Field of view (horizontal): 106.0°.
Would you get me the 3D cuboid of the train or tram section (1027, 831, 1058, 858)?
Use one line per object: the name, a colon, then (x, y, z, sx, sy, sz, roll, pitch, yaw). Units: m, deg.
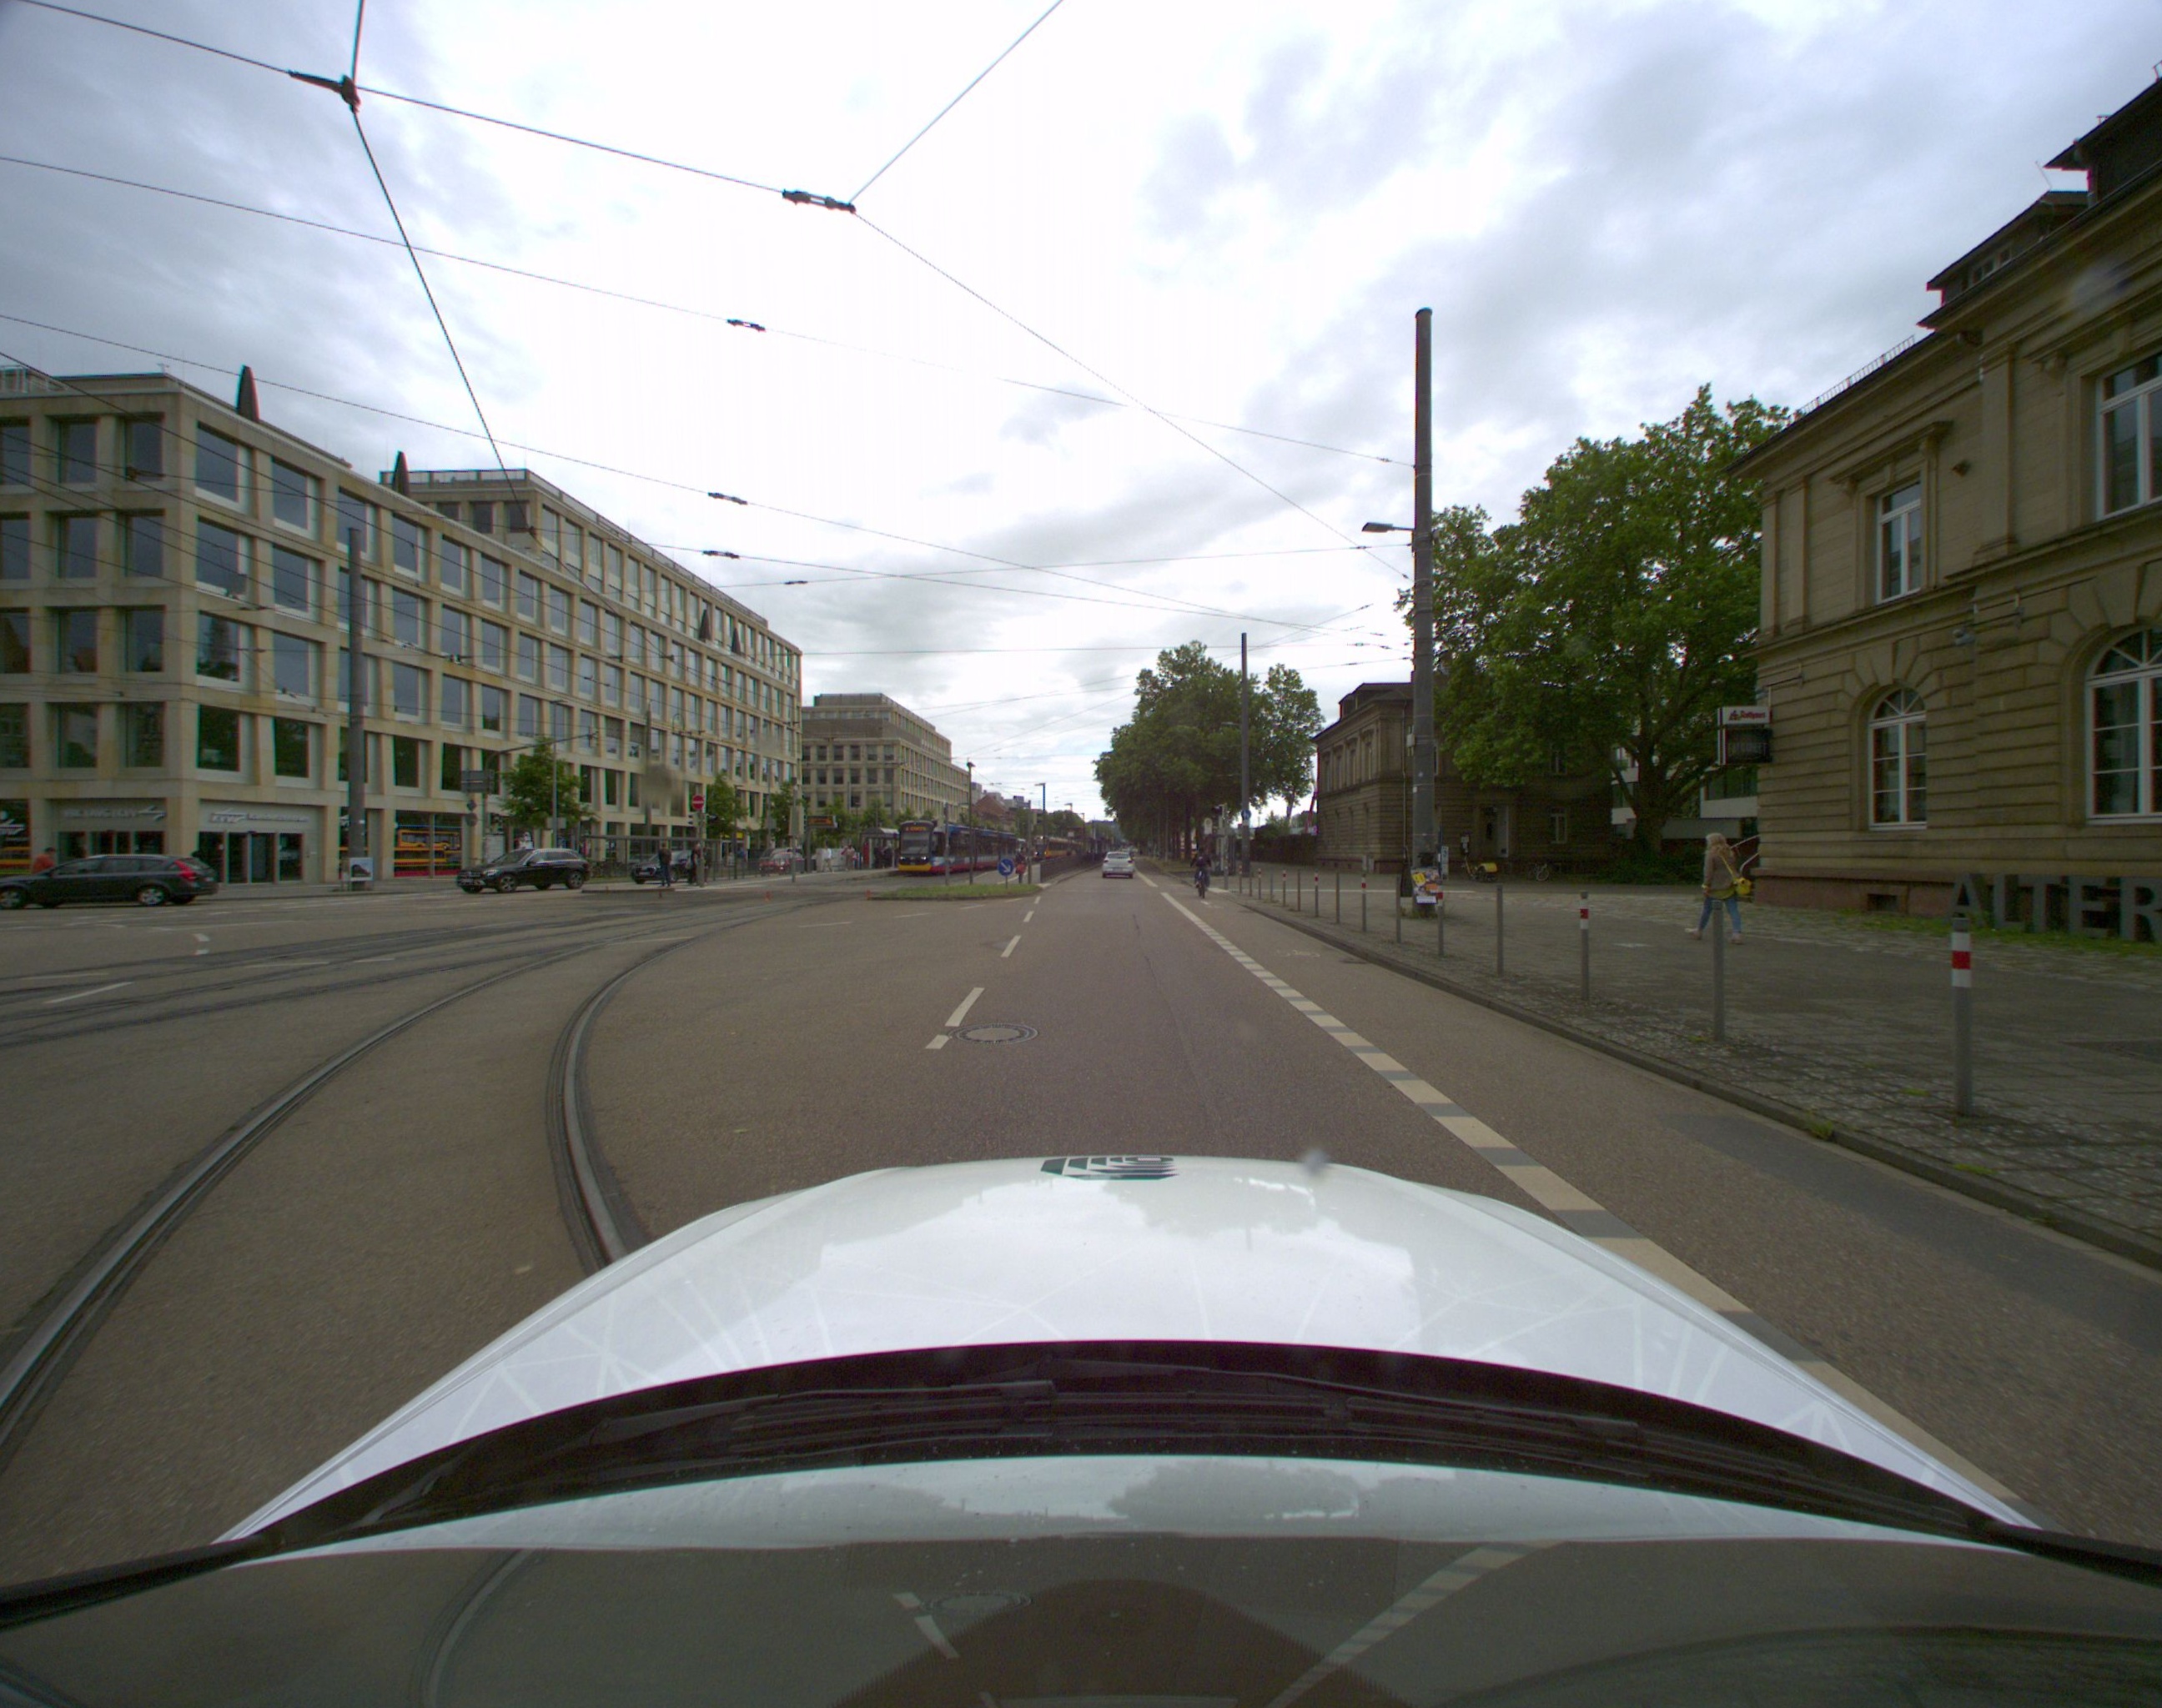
train or tram section: (-5.703, -1.281, 122.969, 3.223, 3.862, 11.323, 0, -1, 4)

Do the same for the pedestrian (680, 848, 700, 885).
pedestrian: (-17.077, 0.556, 35.603, 0.707, 1.598, 0.528, -1, -1, 38)

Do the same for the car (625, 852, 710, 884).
car: (-19.970, 0.637, 39.521, 1.732, 1.494, 4.369, 0, 0, 2)

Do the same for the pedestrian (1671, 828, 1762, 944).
pedestrian: (9.675, 0.471, 12.439, 0.714, 1.678, 1.003, -1, -1, 13)

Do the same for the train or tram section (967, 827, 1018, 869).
train or tram section: (-8.328, -0.467, 78.584, 2.843, 3.692, 13.529, 0, 0, 3)

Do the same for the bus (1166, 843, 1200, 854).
bus: (27.716, -1.502, 221.587, 9.244, 2.960, 2.000, 0, -1, 1)

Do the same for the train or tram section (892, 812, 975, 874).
train or tram section: (-9.504, -0.599, 54.268, 2.843, 3.640, 11.773, 0, 0, 3)

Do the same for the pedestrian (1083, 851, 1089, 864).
pedestrian: (0.516, 0.325, 83.218, 0.608, 1.341, 0.600, 0, -1, 4)

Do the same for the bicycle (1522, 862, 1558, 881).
bicycle: (22.289, 0.848, 39.579, 0.607, 0.872, 2.082, 0, 0, 2)

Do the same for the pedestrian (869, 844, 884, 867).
pedestrian: (-14.087, 0.086, 56.132, 0.843, 1.586, 0.910, 0, -1, -1)

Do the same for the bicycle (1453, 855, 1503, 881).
bicycle: (19.429, 0.678, 39.954, 0.897, 1.068, 3.408, 0, 2, 2)

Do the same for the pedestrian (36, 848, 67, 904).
pedestrian: (-33.326, 0.709, 26.364, 0.414, 1.794, 0.460, 0, -1, -7)

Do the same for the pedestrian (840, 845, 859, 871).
pedestrian: (-14.036, 0.232, 49.326, 0.904, 1.586, 0.848, 0, -1, 1)

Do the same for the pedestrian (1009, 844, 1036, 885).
pedestrian: (-2.380, 0.436, 33.062, 0.865, 1.643, 0.645, 0, -1, -39)

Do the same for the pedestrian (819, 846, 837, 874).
pedestrian: (-14.342, 0.326, 46.181, 0.705, 1.586, 0.766, 0, -1, 1)

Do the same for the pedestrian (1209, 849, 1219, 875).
pedestrian: (8.110, 0.469, 49.635, 0.474, 1.563, 0.703, 0, -1, 3)

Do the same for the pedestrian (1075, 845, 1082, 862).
pedestrian: (-0.263, -0.044, 89.672, 0.669, 1.793, 1.111, 0, -1, -5)

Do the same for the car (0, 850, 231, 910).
car: (-28.207, 0.703, 23.941, 4.012, 1.596, 1.981, 0, 0, -30)

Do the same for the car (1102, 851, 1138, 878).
car: (2.286, 0.600, 47.281, 1.876, 1.453, 4.006, 0, -1, 5)

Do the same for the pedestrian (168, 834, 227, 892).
pedestrian: (-31.772, 0.324, 29.301, 1.038, 2.014, 0.998, 0, -1, 2)

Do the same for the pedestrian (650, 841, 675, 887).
pedestrian: (-17.333, 0.413, 33.726, 0.858, 1.868, 0.740, 0, -1, -31)

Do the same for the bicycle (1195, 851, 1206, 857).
bicycle: (21.177, -0.002, 144.045, 1.883, 1.105, 0.550, -2, -1, 1)

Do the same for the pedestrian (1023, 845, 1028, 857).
pedestrian: (-8.389, -0.414, 123.566, 0.708, 1.795, 1.161, 0, -1, 2)

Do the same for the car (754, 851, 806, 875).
car: (-18.901, 0.515, 51.246, 1.732, 1.449, 3.771, 0, 0, 2)

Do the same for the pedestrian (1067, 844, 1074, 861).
pedestrian: (-1.162, -0.153, 88.866, 0.670, 1.793, 1.109, 0, -1, -10)

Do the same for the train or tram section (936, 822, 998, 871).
train or tram section: (-9.001, -0.502, 65.954, 2.843, 3.640, 11.707, 0, 0, 3)

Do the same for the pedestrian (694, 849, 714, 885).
pedestrian: (-16.657, 0.574, 35.952, 0.707, 1.598, 0.528, -1, -1, 38)

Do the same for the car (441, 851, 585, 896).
car: (-21.575, 0.681, 31.167, 1.724, 1.599, 4.342, 0, 0, 19)

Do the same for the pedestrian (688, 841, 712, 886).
pedestrian: (-16.128, 0.410, 34.473, 0.858, 1.868, 0.740, 0, -1, -31)

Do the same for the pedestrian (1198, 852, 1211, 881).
pedestrian: (6.557, 0.646, 43.325, 0.547, 1.528, 0.641, -1, -1, 21)

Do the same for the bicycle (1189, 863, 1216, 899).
bicycle: (4.106, 0.892, 27.719, 0.650, 1.150, 2.284, 0, -1, 2)

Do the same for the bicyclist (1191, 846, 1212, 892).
bicyclist: (4.100, 0.512, 27.696, 0.638, 1.531, 0.665, 0, -1, 1)

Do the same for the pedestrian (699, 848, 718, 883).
pedestrian: (-16.905, 0.518, 36.913, 0.719, 1.598, 0.702, 0, -1, -30)

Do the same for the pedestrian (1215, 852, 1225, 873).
pedestrian: (8.260, 0.485, 48.491, 0.474, 1.234, 0.703, 0, -1, 3)
